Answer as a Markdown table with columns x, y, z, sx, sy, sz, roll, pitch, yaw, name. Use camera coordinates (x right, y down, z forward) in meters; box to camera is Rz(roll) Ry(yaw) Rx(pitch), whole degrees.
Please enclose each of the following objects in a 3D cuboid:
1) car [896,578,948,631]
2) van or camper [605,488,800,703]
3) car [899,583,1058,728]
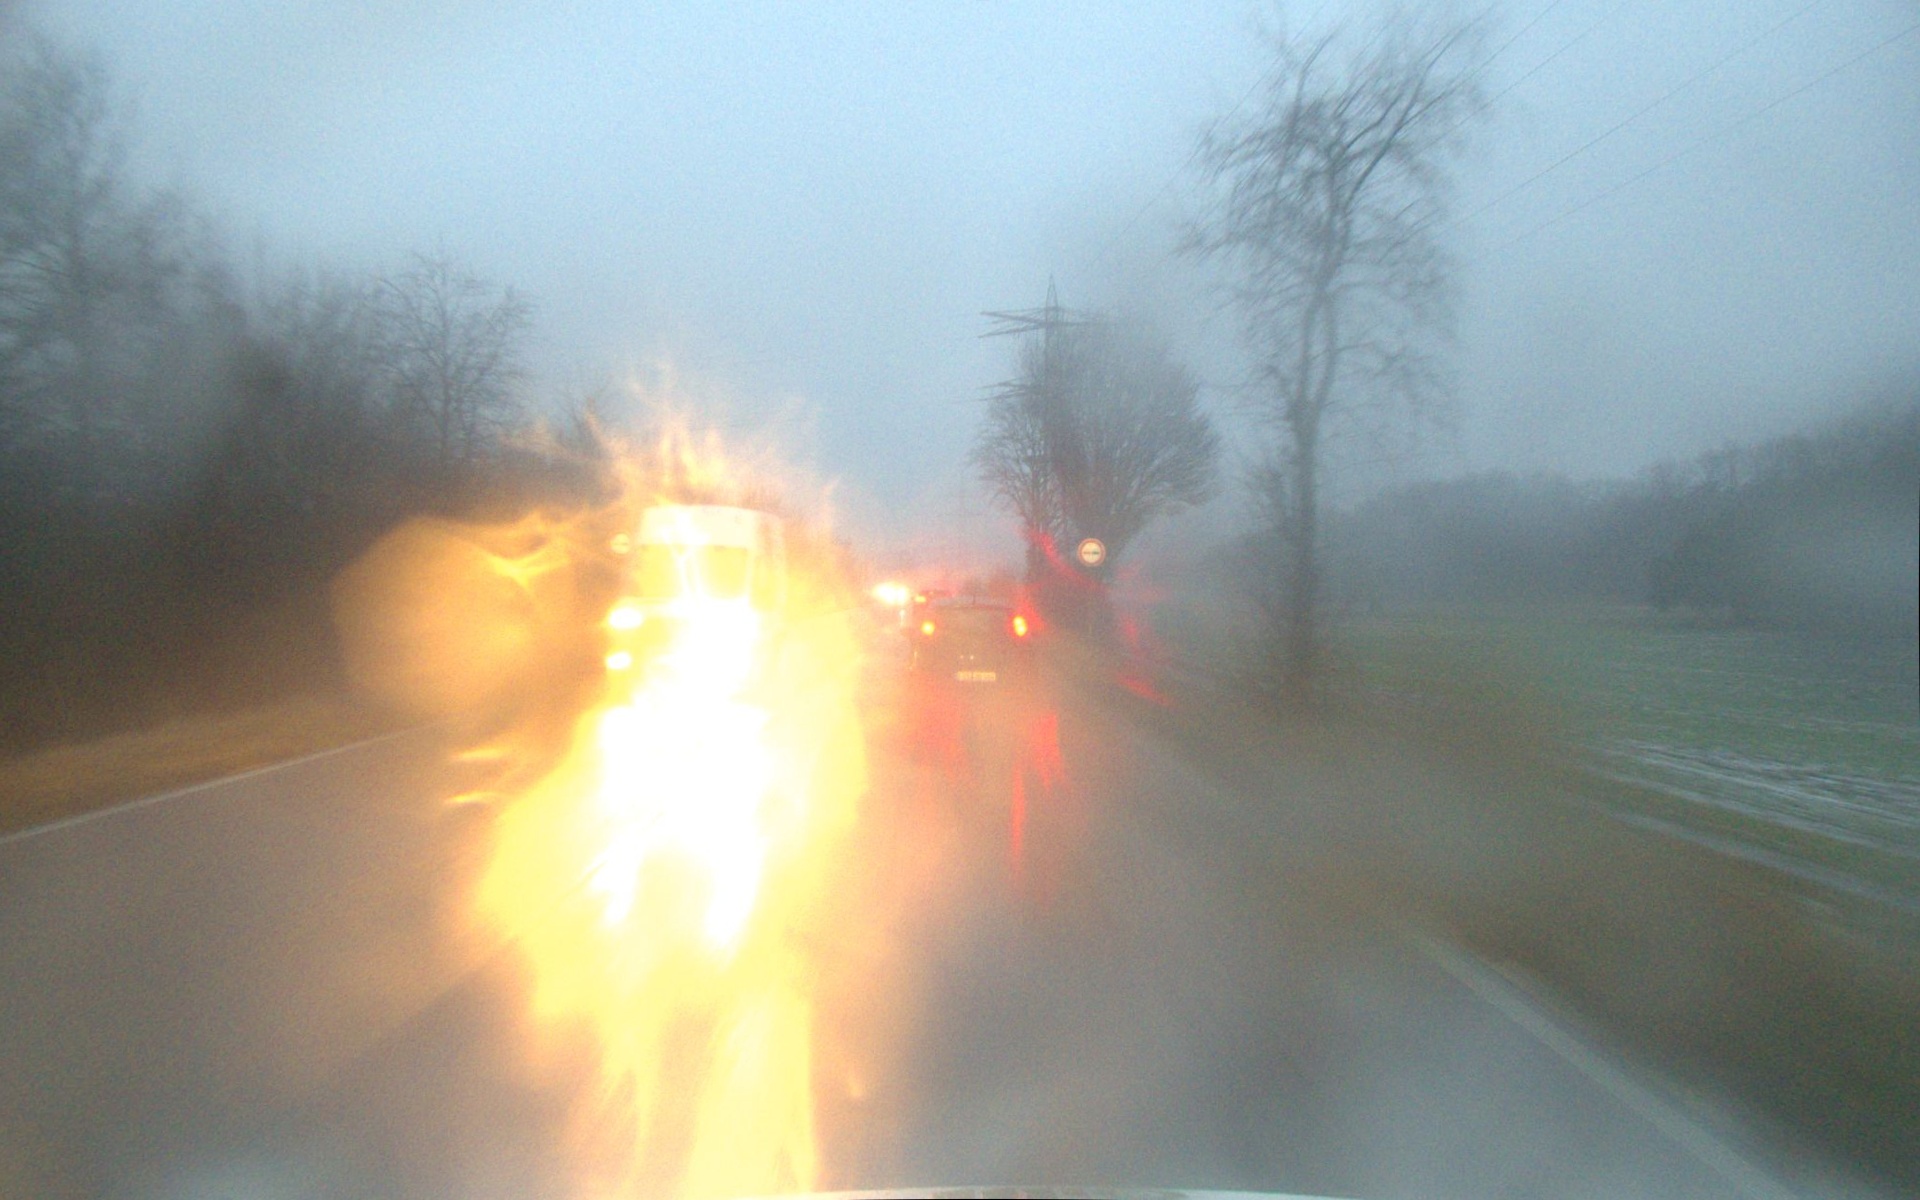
| x | y | z | sx | sy | sz | roll | pitch | yaw | name |
| --- | --- | --- | --- | --- | --- | --- | --- | --- | --- |
| -1.478 | 0.167 | 65.940 | 1.952 | 2.049 | 4.000 | -1 | 0 | 0 | car |
| -3.725 | -0.070 | 25.179 | 1.980 | 2.825 | 6.742 | 0 | 0 | -1 | van or camper |
| 0.194 | 0.680 | 22.297 | 1.953 | 1.783 | 3.999 | 0 | 0 | -1 | car |
